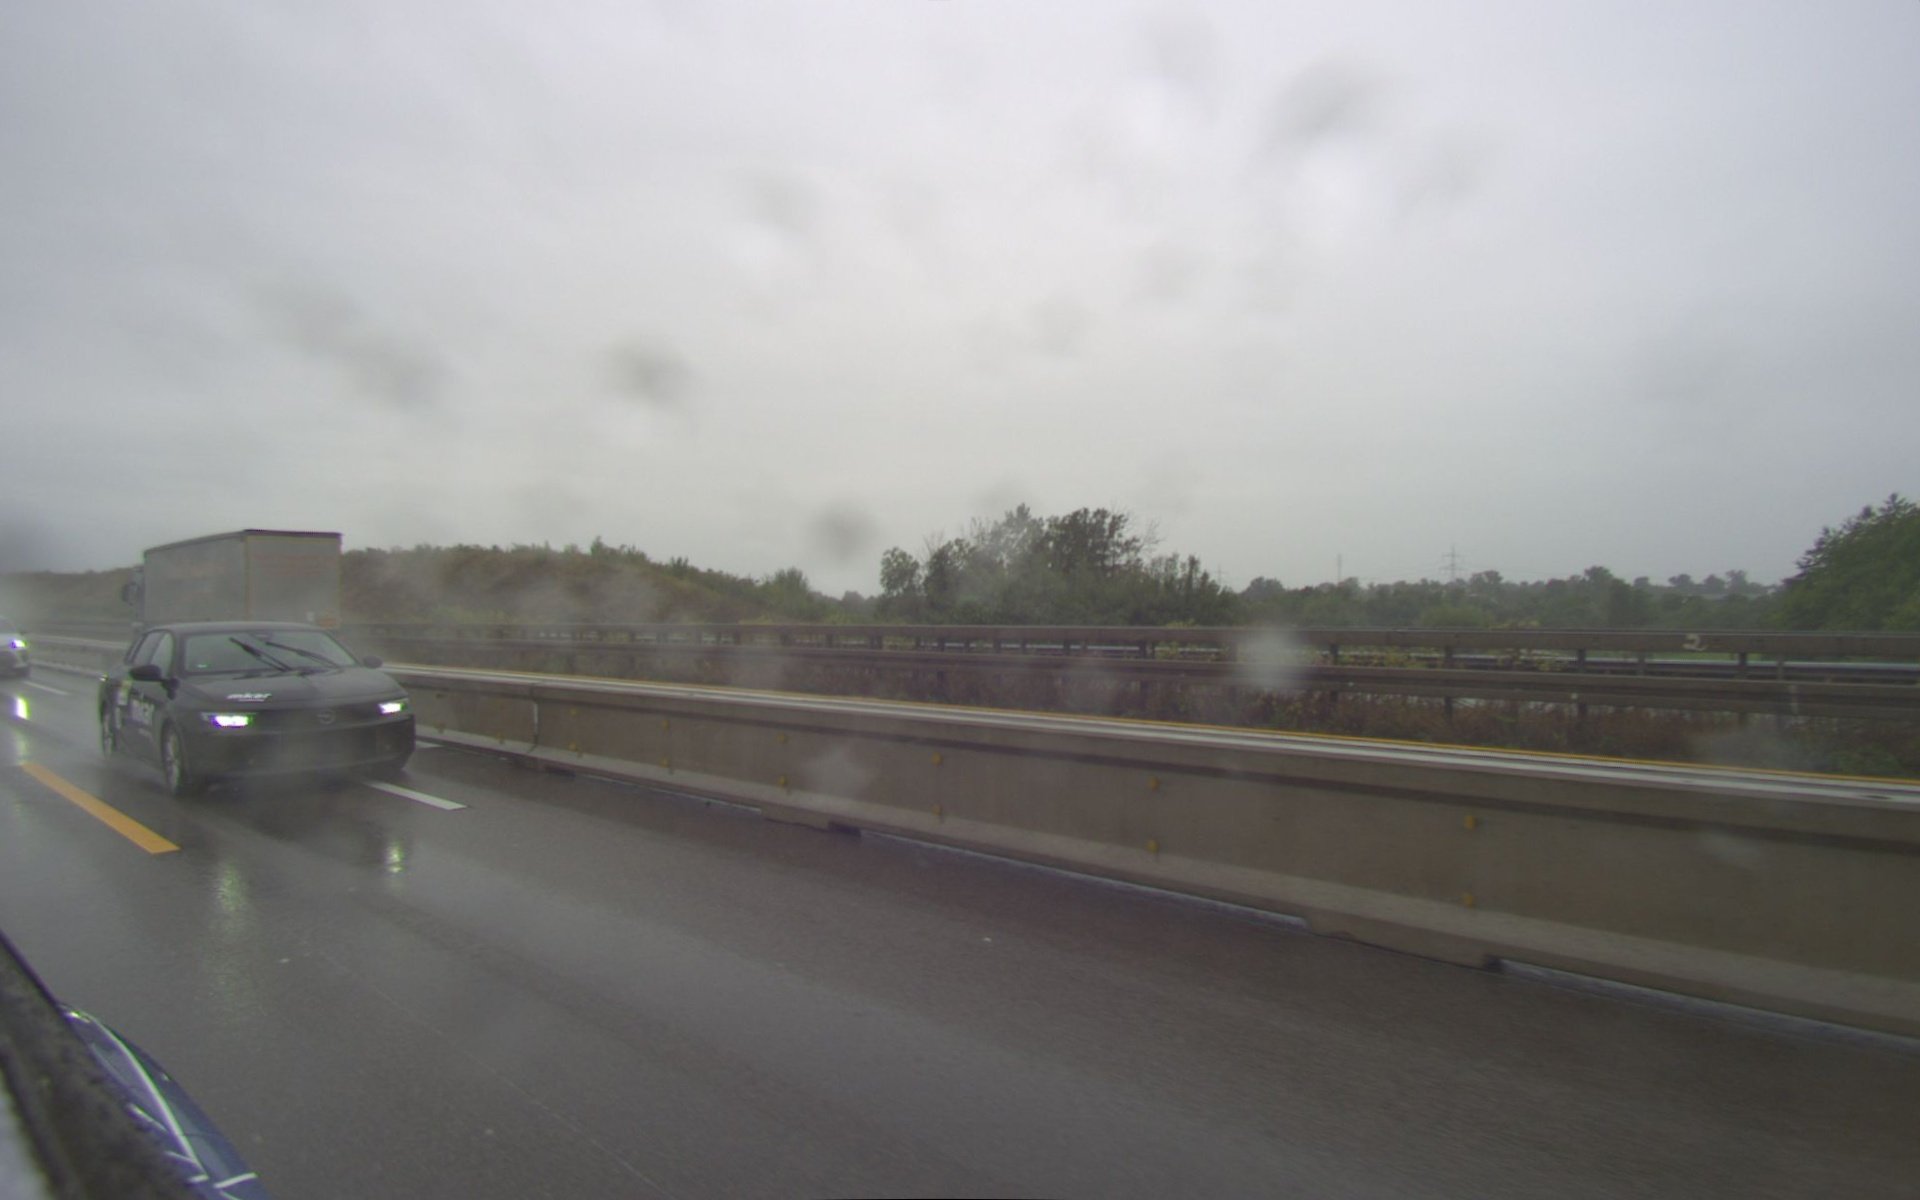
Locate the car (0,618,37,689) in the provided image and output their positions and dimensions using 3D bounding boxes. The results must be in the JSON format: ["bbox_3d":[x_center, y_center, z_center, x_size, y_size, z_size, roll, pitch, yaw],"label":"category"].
[{"bbox_3d":[-25.066,1.337,25.677,3.997,1.693,1.946,0,0,40],"label":"car"}]

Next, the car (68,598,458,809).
[{"bbox_3d":[-6.836,0.760,9.692,4.792,1.539,1.919,0,0,40],"label":"car"}]

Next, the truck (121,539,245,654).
[{"bbox_3d":[-30.583,-0.130,39.727,6.692,4.158,2.614,0,0,41],"label":"truck"}]

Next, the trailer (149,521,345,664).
[{"bbox_3d":[-24.521,-0.188,34.399,12.309,4.140,2.622,0,0,41],"label":"trailer"}]
